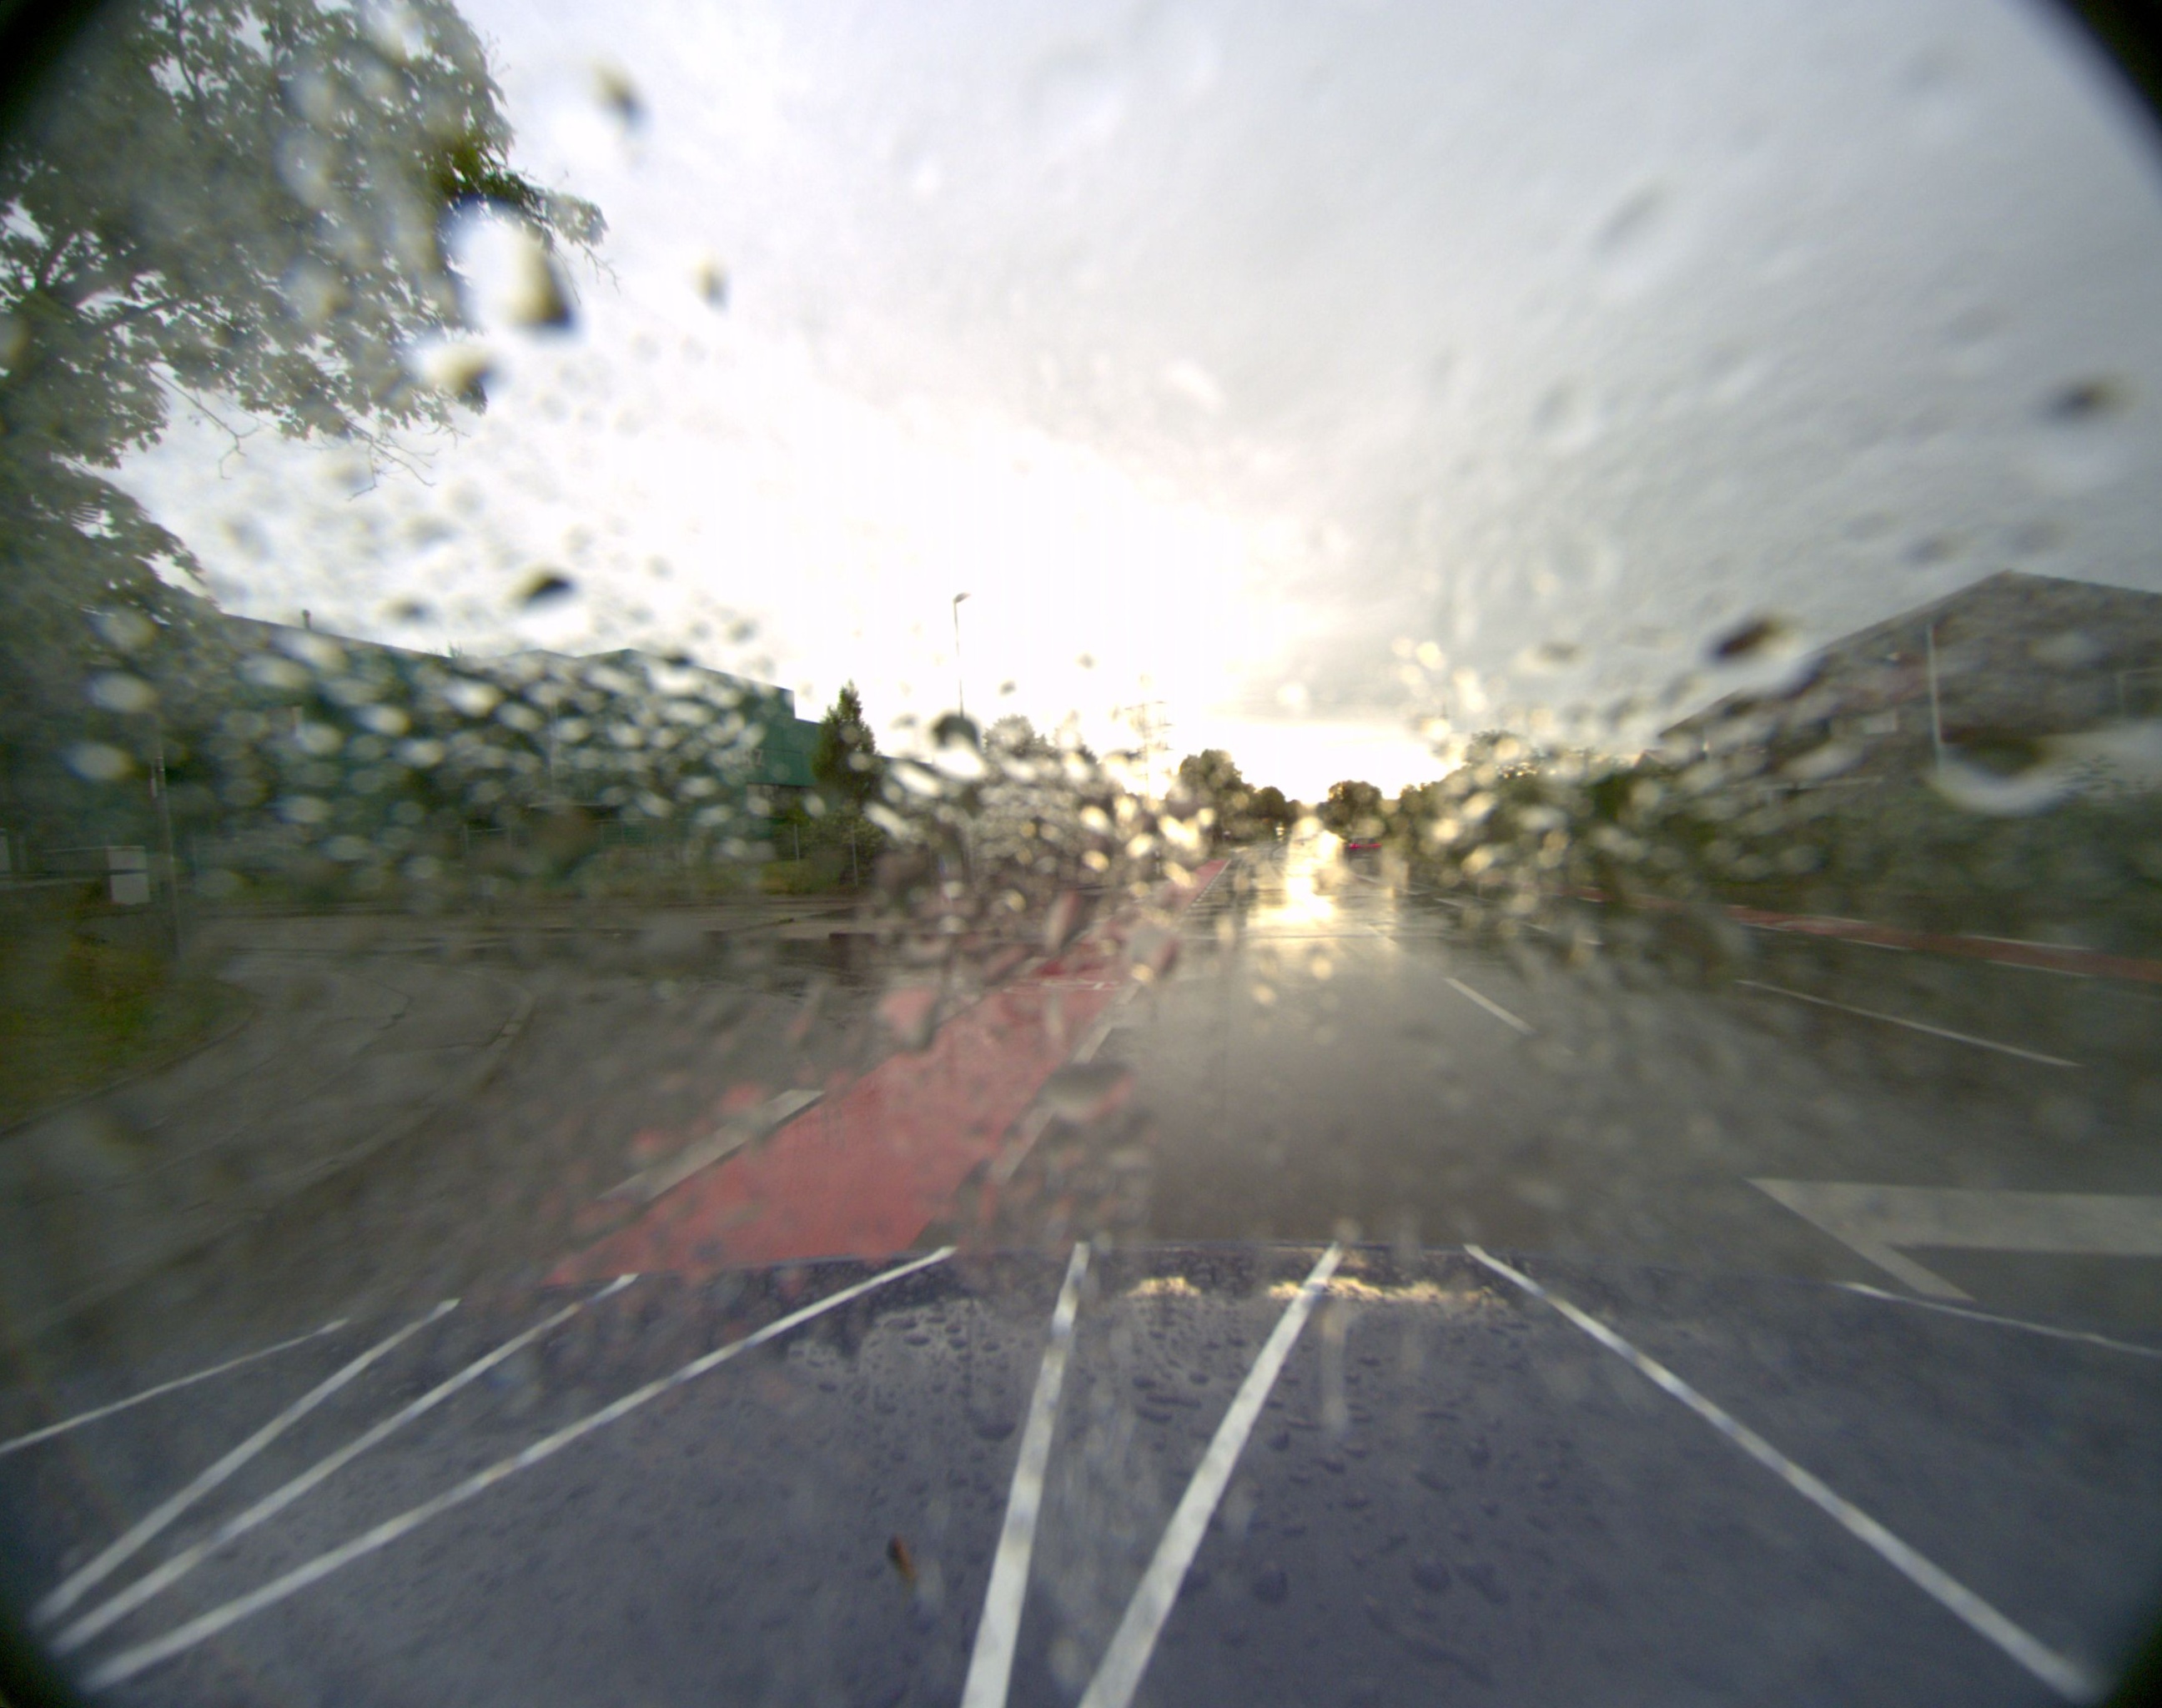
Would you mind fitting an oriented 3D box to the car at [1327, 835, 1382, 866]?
[{"bbox_3d":[17.312,-0.303,48.461,2.358,1.805,6.882,-1,1,11],"label":"car"}]
